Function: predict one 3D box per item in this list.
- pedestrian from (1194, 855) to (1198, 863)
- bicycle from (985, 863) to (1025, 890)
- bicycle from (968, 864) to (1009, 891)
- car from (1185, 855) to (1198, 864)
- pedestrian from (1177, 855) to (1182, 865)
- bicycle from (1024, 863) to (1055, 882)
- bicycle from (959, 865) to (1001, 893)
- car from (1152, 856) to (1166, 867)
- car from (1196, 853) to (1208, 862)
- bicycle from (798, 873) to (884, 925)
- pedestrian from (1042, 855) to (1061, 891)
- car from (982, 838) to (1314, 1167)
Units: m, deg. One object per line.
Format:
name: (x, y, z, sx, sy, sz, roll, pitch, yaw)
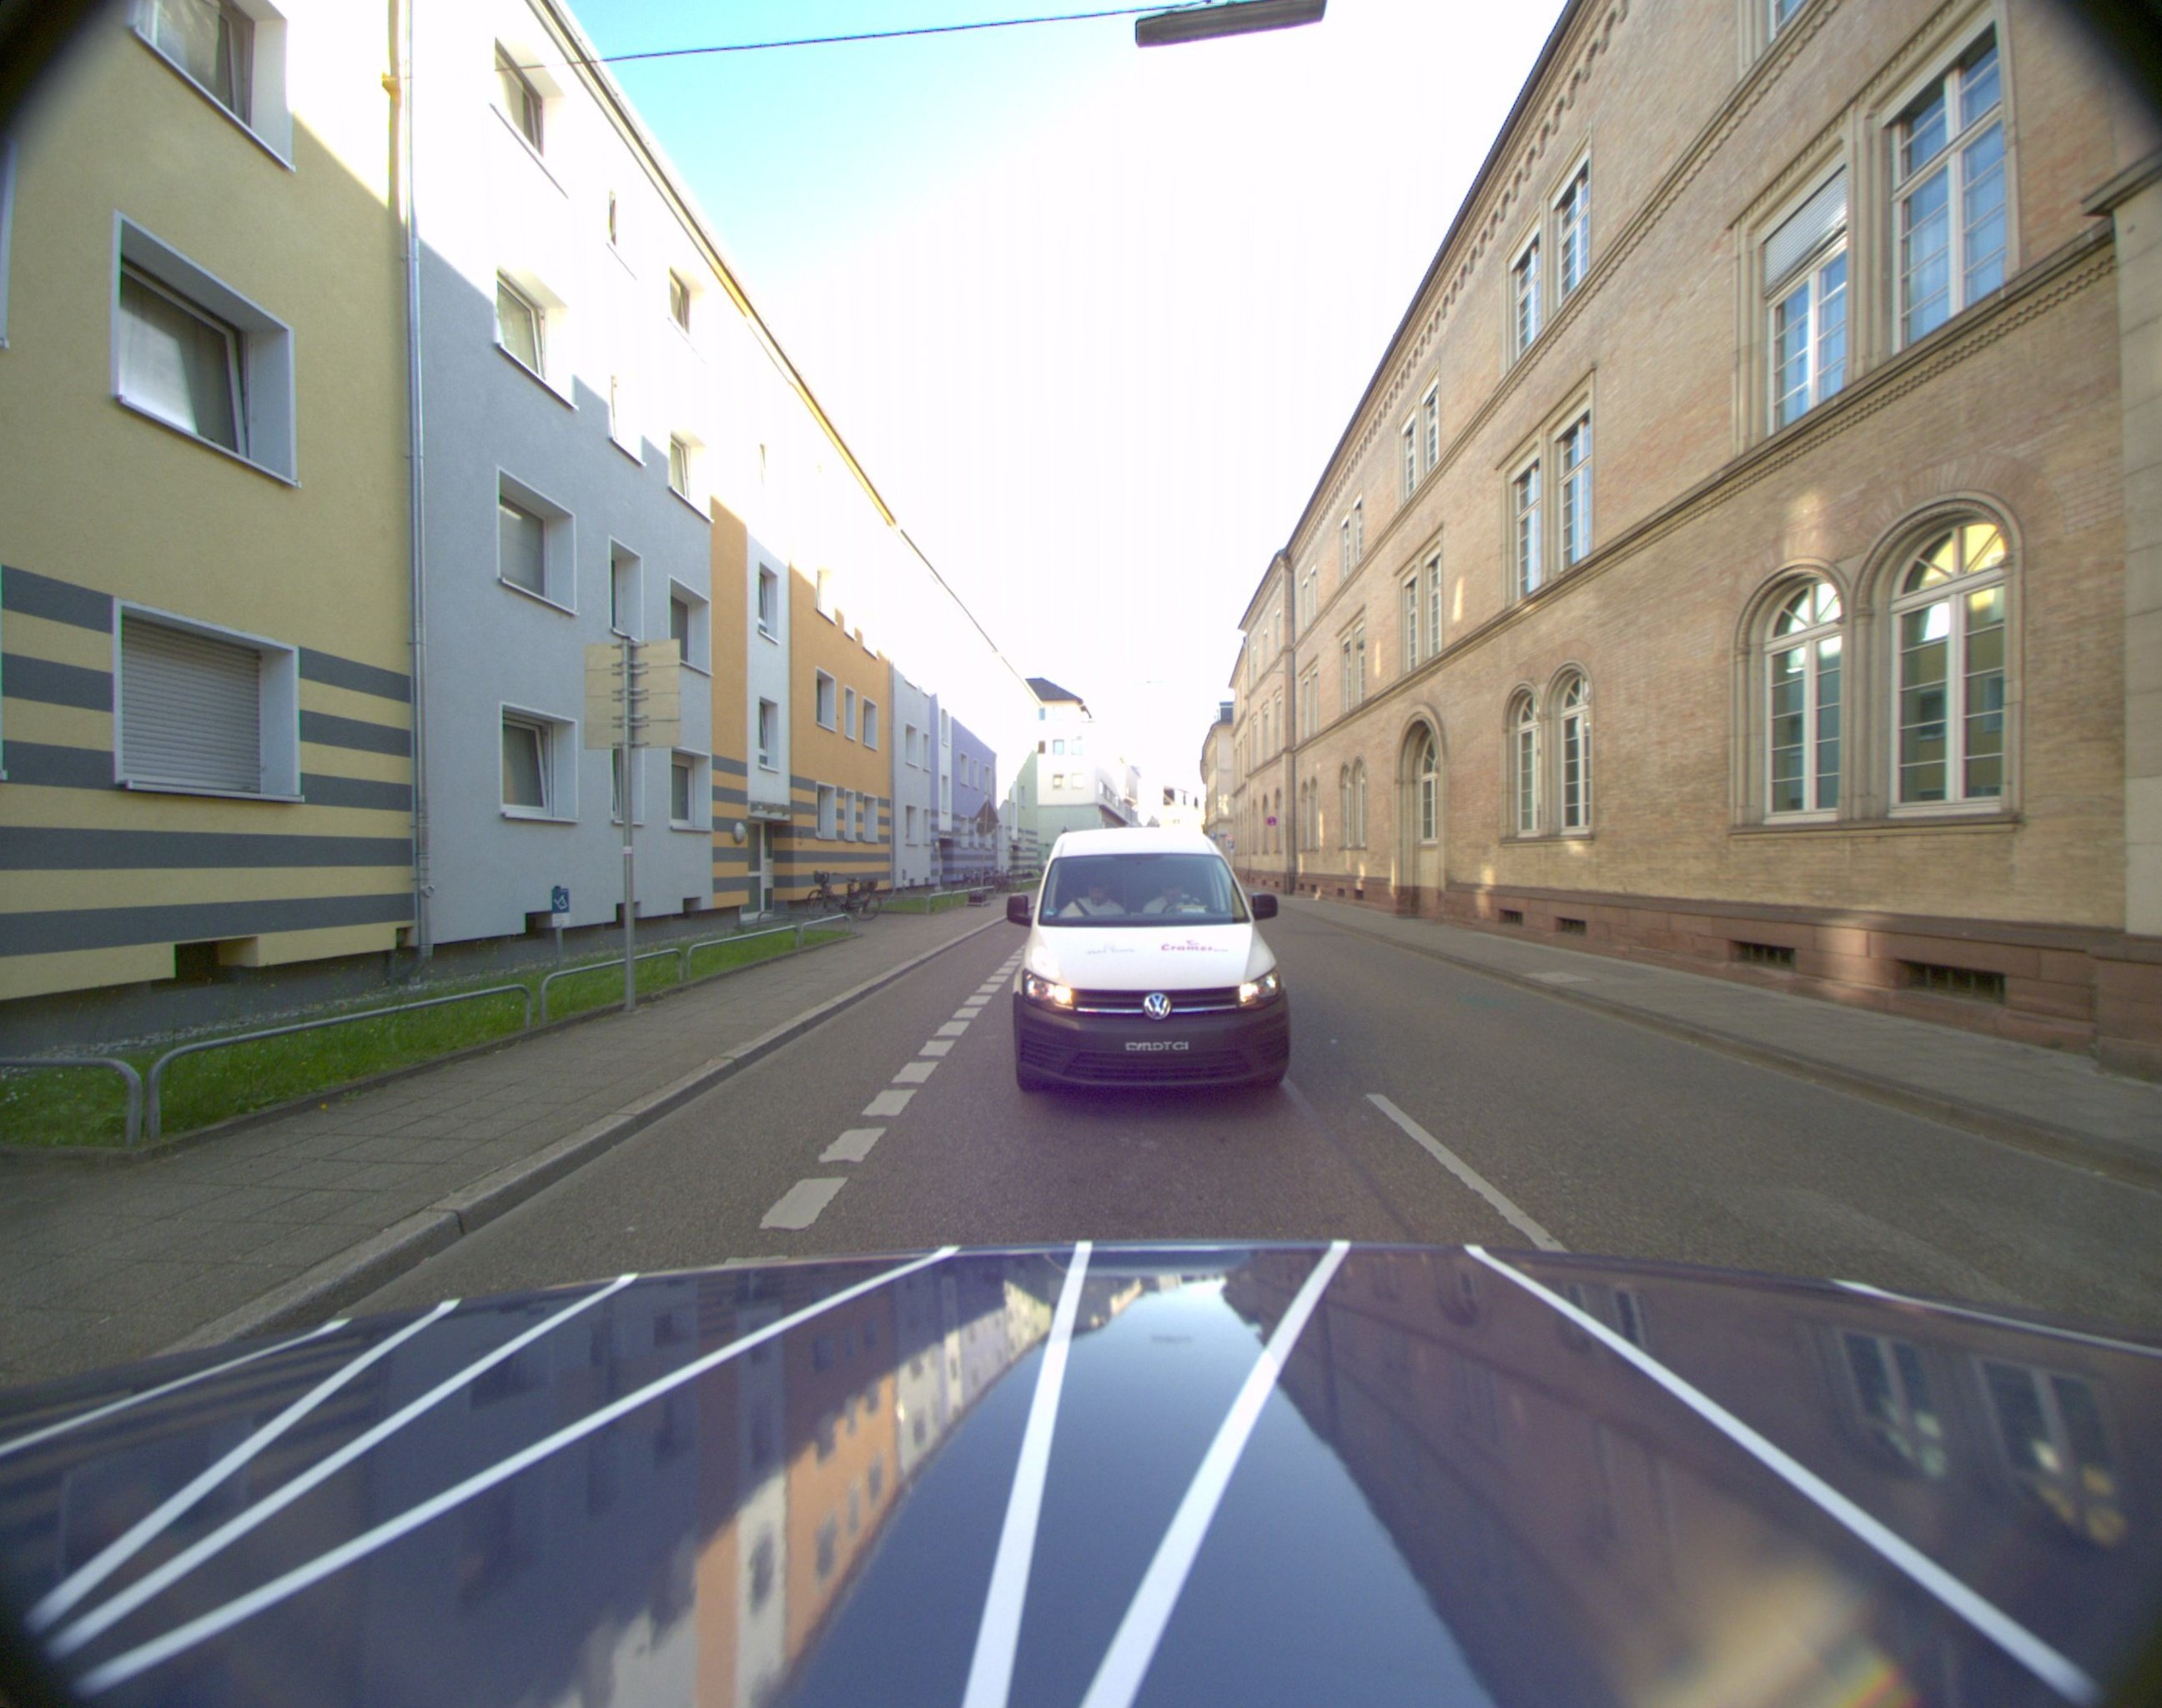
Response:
pedestrian: (21.918, 0.958, 144.783, 0.704, 1.627, 0.833, 3, 2, 14)
bicycle: (-3.368, 0.990, 33.689, 1.676, 1.145, 0.484, 0, 0, 4)
bicycle: (-4.027, 1.007, 33.144, 1.676, 1.145, 0.484, 0, 0, 4)
car: (22.119, 1.056, 152.030, 1.996, 1.643, 4.233, -2, 1, 17)
pedestrian: (16.968, 1.042, 130.333, 0.705, 1.627, 0.833, 3, 2, 12)
bicycle: (-2.511, 1.138, 46.060, 1.779, 1.145, 0.484, 0, 0, 0)
bicycle: (-4.232, 1.034, 31.850, 1.676, 1.145, 0.484, 0, 0, 4)
car: (12.655, 1.166, 122.708, 1.997, 1.643, 4.231, -2, 1, 9)
car: (26.102, 0.770, 163.761, 1.996, 1.643, 4.233, -2, 1, 17)
bicycle: (-5.382, 1.004, 17.113, 1.780, 1.116, 0.484, 0, 0, -5)
pedestrian: (-1.393, 0.867, 35.791, 0.705, 1.627, 0.833, 2, 2, 5)
car: (0.398, 0.773, 6.760, 1.769, 1.761, 5.331, -1, 1, 1)
